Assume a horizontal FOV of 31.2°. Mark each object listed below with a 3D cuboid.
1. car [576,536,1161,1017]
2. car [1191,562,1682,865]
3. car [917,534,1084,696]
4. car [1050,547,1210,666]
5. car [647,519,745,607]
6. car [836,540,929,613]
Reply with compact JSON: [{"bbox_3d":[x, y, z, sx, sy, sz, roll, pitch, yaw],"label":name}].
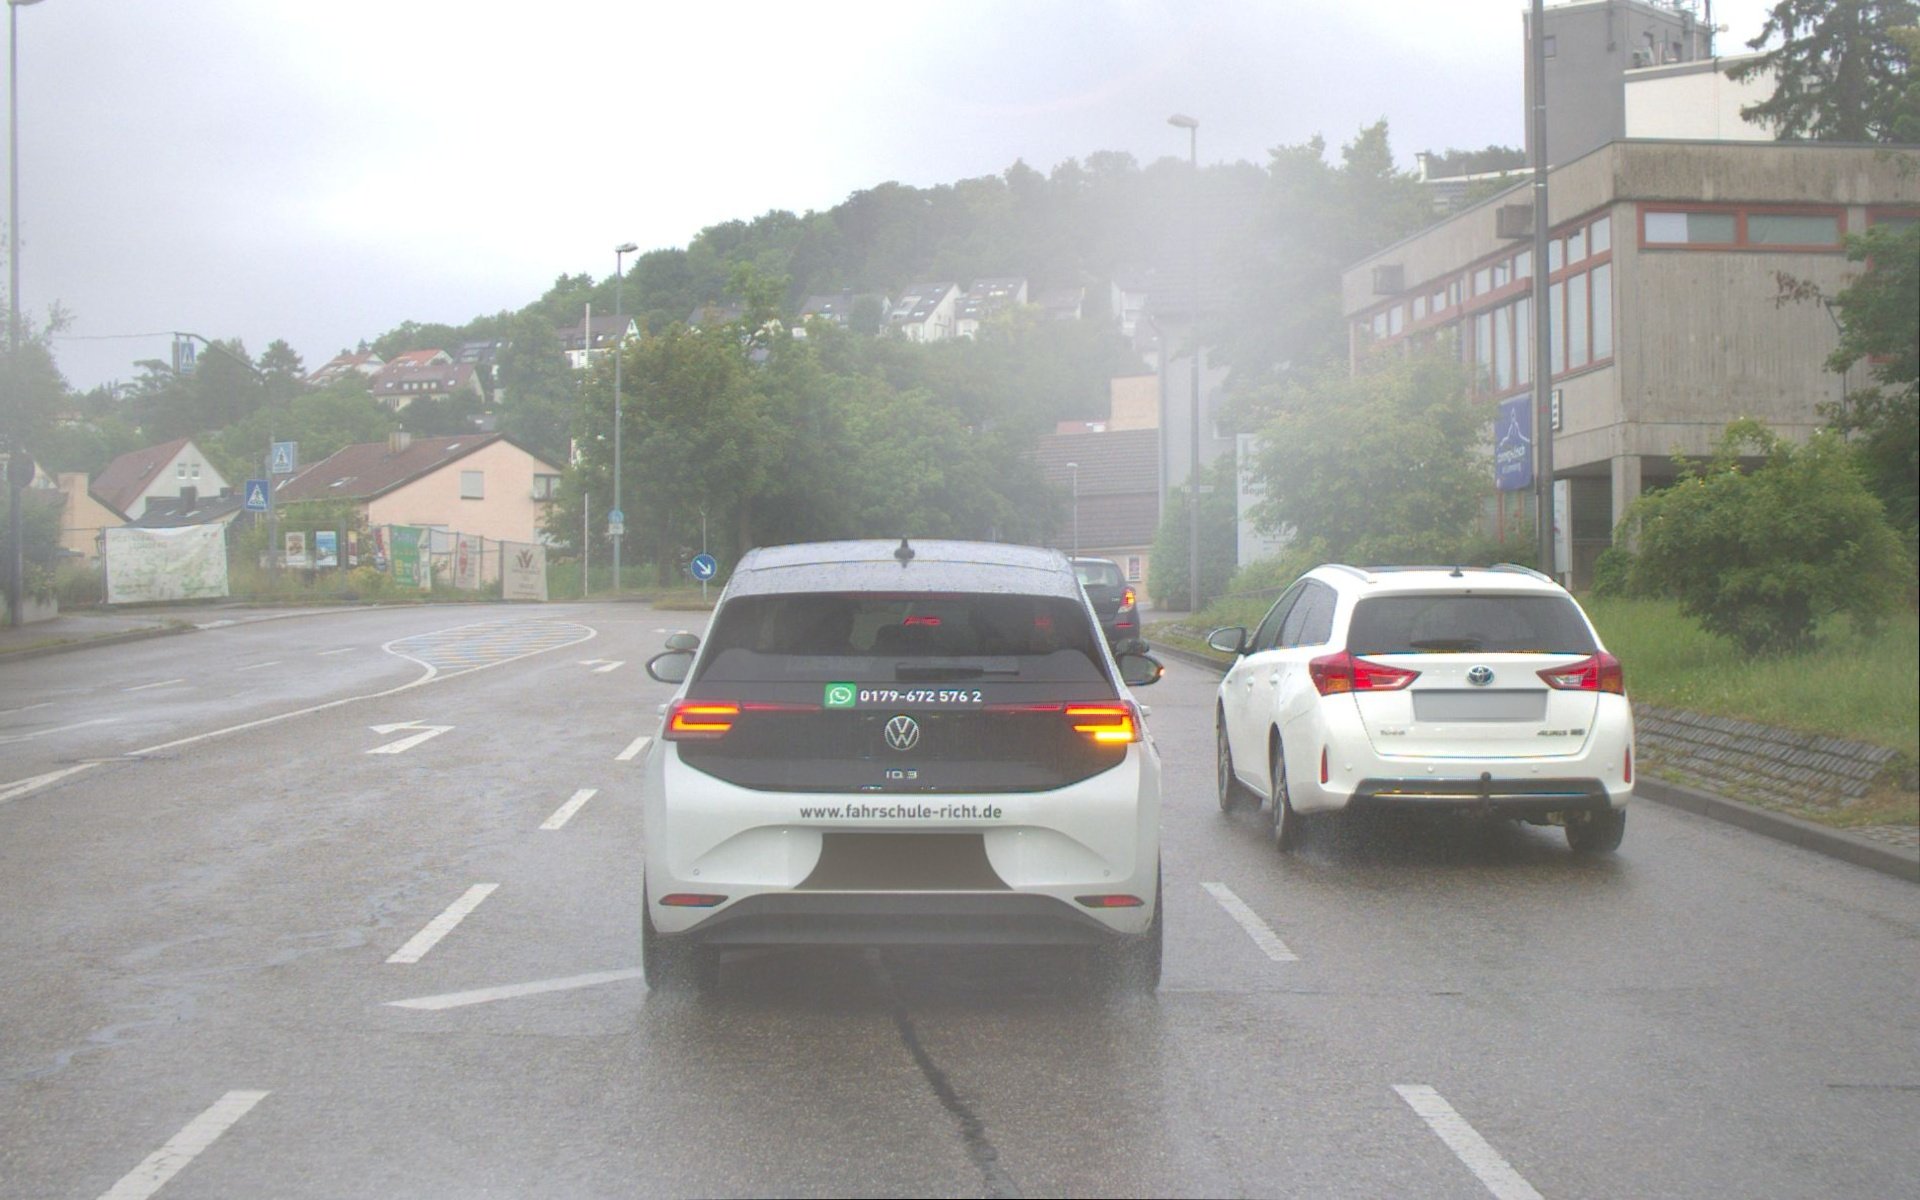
[{"bbox_3d":[-0.214,0.558,12.879,1.829,1.495,4.168,0,0,2],"label":"car"},{"bbox_3d":[2.377,0.536,18.224,1.848,1.405,4.302,0,0,-2],"label":"car"},{"bbox_3d":[0.369,0.113,34.321,1.567,1.525,4.000,0,1,0],"label":"car"},{"bbox_3d":[2.251,0.087,46.080,1.994,1.448,3.770,-2,0,2],"label":"car"},{"bbox_3d":[-6.283,-0.863,82.084,1.993,2.007,4.000,1,0,0],"label":"car"},{"bbox_3d":[-2.223,-0.671,99.823,1.994,2.007,3.998,1,0,9],"label":"car"}]
